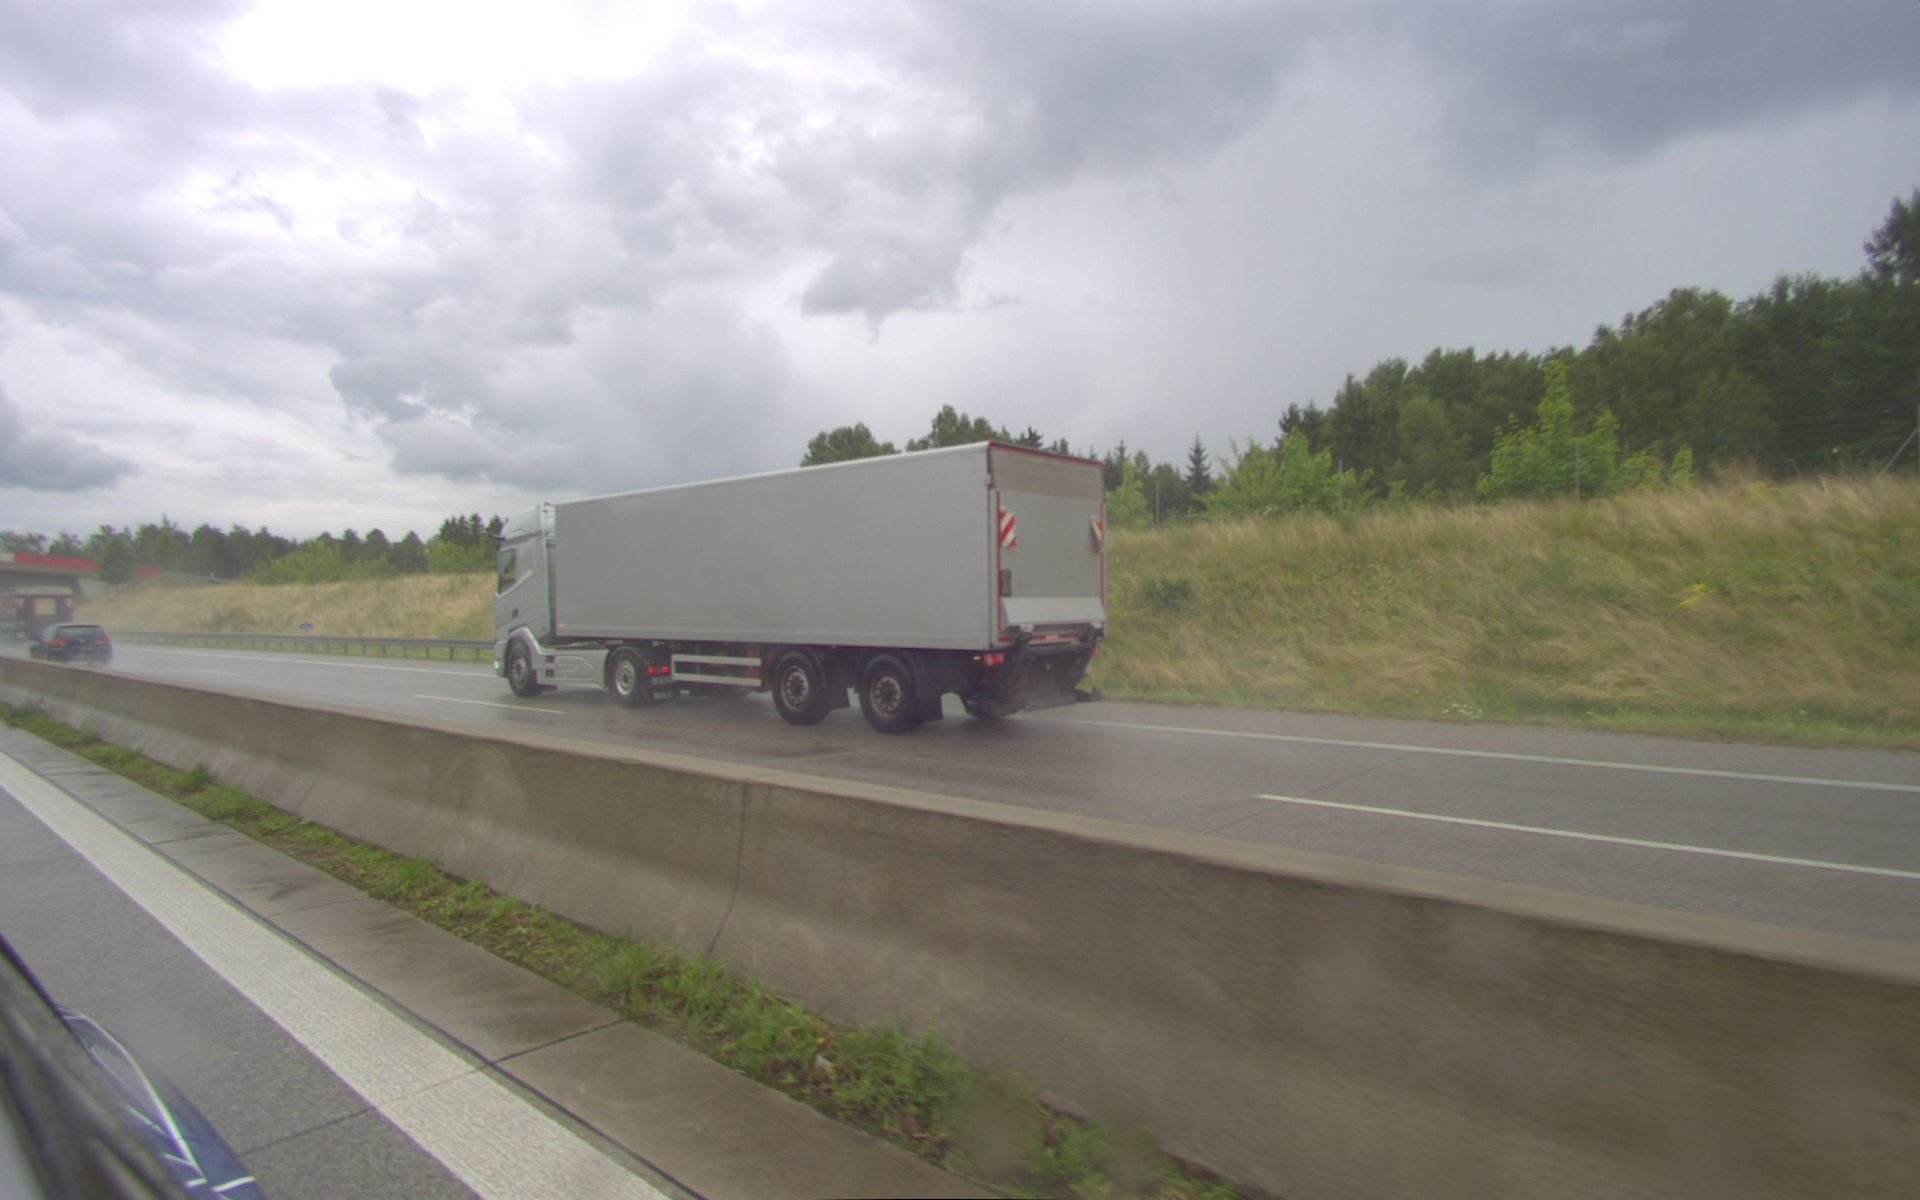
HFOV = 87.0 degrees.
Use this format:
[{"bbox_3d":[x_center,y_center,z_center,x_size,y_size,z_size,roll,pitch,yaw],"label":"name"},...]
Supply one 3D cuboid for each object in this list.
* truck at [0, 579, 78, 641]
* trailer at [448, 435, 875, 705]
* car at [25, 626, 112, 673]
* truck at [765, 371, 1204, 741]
[{"bbox_3d":[-56.780,0.673,61.794,8.358,3.560,3.136,-1,-1,40],"label":"truck"},{"bbox_3d":[-5.910,-0.297,18.645,9.352,3.870,2.874,-2,-1,40],"label":"trailer"},{"bbox_3d":[-30.281,1.665,34.332,3.997,1.497,1.643,-2,-3,41],"label":"car"},{"bbox_3d":[0.189,-0.409,13.452,5.190,3.899,2.856,-2,-1,40],"label":"truck"}]
